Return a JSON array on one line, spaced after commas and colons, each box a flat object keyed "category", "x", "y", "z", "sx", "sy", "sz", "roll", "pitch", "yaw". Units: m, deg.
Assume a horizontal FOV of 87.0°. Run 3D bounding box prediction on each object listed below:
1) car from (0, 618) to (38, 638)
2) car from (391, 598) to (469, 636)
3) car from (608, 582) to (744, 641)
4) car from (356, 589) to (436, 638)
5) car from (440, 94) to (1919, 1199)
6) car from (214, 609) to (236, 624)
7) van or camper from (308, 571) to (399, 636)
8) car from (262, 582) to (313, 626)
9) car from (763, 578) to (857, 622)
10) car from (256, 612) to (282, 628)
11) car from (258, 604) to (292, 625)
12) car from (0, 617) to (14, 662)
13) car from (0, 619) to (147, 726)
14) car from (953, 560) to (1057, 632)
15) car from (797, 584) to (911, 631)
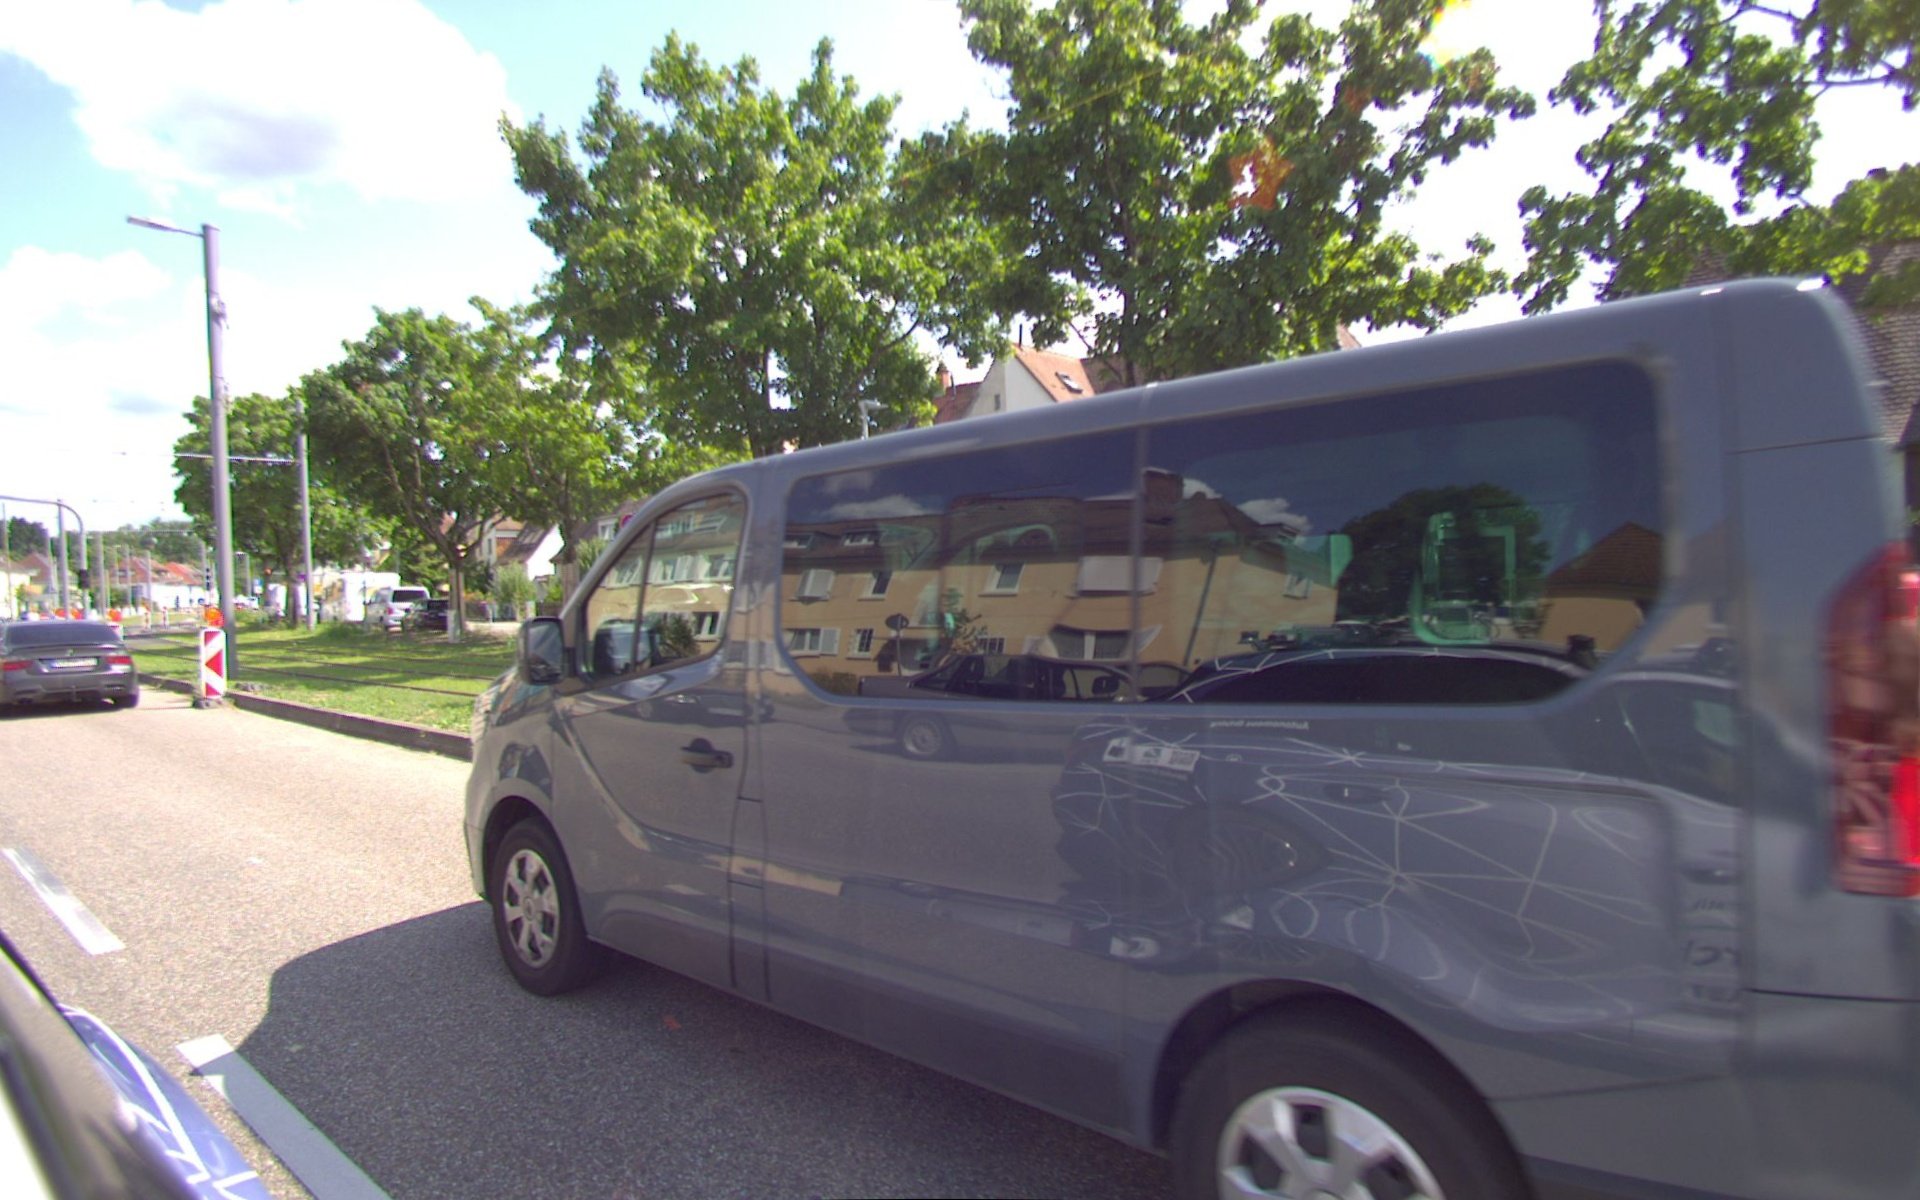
[{"category": "car", "x": -79.136, "y": 2.321, "z": 85.061, "sx": 1.850, "sy": 1.564, "sz": 4.997, "roll": -2, "pitch": 1, "yaw": -36}, {"category": "car", "x": -21.461, "y": 0.663, "z": 40.853, "sx": 1.829, "sy": 1.397, "sz": 4.817, "roll": -3, "pitch": 1, "yaw": -39}, {"category": "car", "x": -9.498, "y": 0.380, "z": 33.658, "sx": 5.081, "sy": 1.781, "sz": 1.862, "roll": -1, "pitch": 1, "yaw": 41}, {"category": "car", "x": -25.355, "y": 0.588, "z": 45.390, "sx": 1.970, "sy": 2.029, "sz": 4.909, "roll": -3, "pitch": 1, "yaw": -43}, {"category": "car", "x": 0.579, "y": 0.379, "z": 3.054, "sx": 5.289, "sy": 1.981, "sz": 1.935, "roll": -1, "pitch": 0, "yaw": 40}, {"category": "car", "x": -82.852, "y": 1.875, "z": 114.123, "sx": 1.702, "sy": 1.574, "sz": 4.554, "roll": -2, "pitch": 1, "yaw": -33}, {"category": "van or camper", "x": -30.365, "y": 0.171, "z": 50.522, "sx": 2.348, "sy": 2.992, "sz": 7.303, "roll": -2, "pitch": 1, "yaw": -43}, {"category": "car", "x": -43.543, "y": 0.282, "z": 65.486, "sx": 2.127, "sy": 2.688, "sz": 4.923, "roll": -2, "pitch": 1, "yaw": -40}, {"category": "car", "x": -6.712, "y": -0.026, "z": 45.552, "sx": 1.798, "sy": 1.750, "sz": 3.946, "roll": -1, "pitch": 2, "yaw": 41}, {"category": "car", "x": -73.004, "y": 2.068, "z": 106.951, "sx": 1.701, "sy": 1.538, "sz": 4.785, "roll": -2, "pitch": 1, "yaw": -29}, {"category": "car", "x": -50.109, "y": 1.047, "z": 73.945, "sx": 1.671, "sy": 1.475, "sz": 4.764, "roll": -2, "pitch": 1, "yaw": -38}, {"category": "car", "x": -32.980, "y": 1.307, "z": 33.774, "sx": 3.957, "sy": 1.460, "sz": 1.648, "roll": -1, "pitch": -2, "yaw": 41}, {"category": "car", "x": -14.332, "y": 1.040, "z": 15.870, "sx": 4.119, "sy": 1.399, "sz": 1.707, "roll": -1, "pitch": 1, "yaw": 41}, {"category": "car", "x": 1.437, "y": -0.166, "z": 30.585, "sx": 1.930, "sy": 1.910, "sz": 3.869, "roll": -2, "pitch": 2, "yaw": 22}, {"category": "car", "x": -3.696, "y": 0.234, "z": 35.691, "sx": 1.735, "sy": 1.468, "sz": 3.843, "roll": -1, "pitch": 1, "yaw": 41}]
